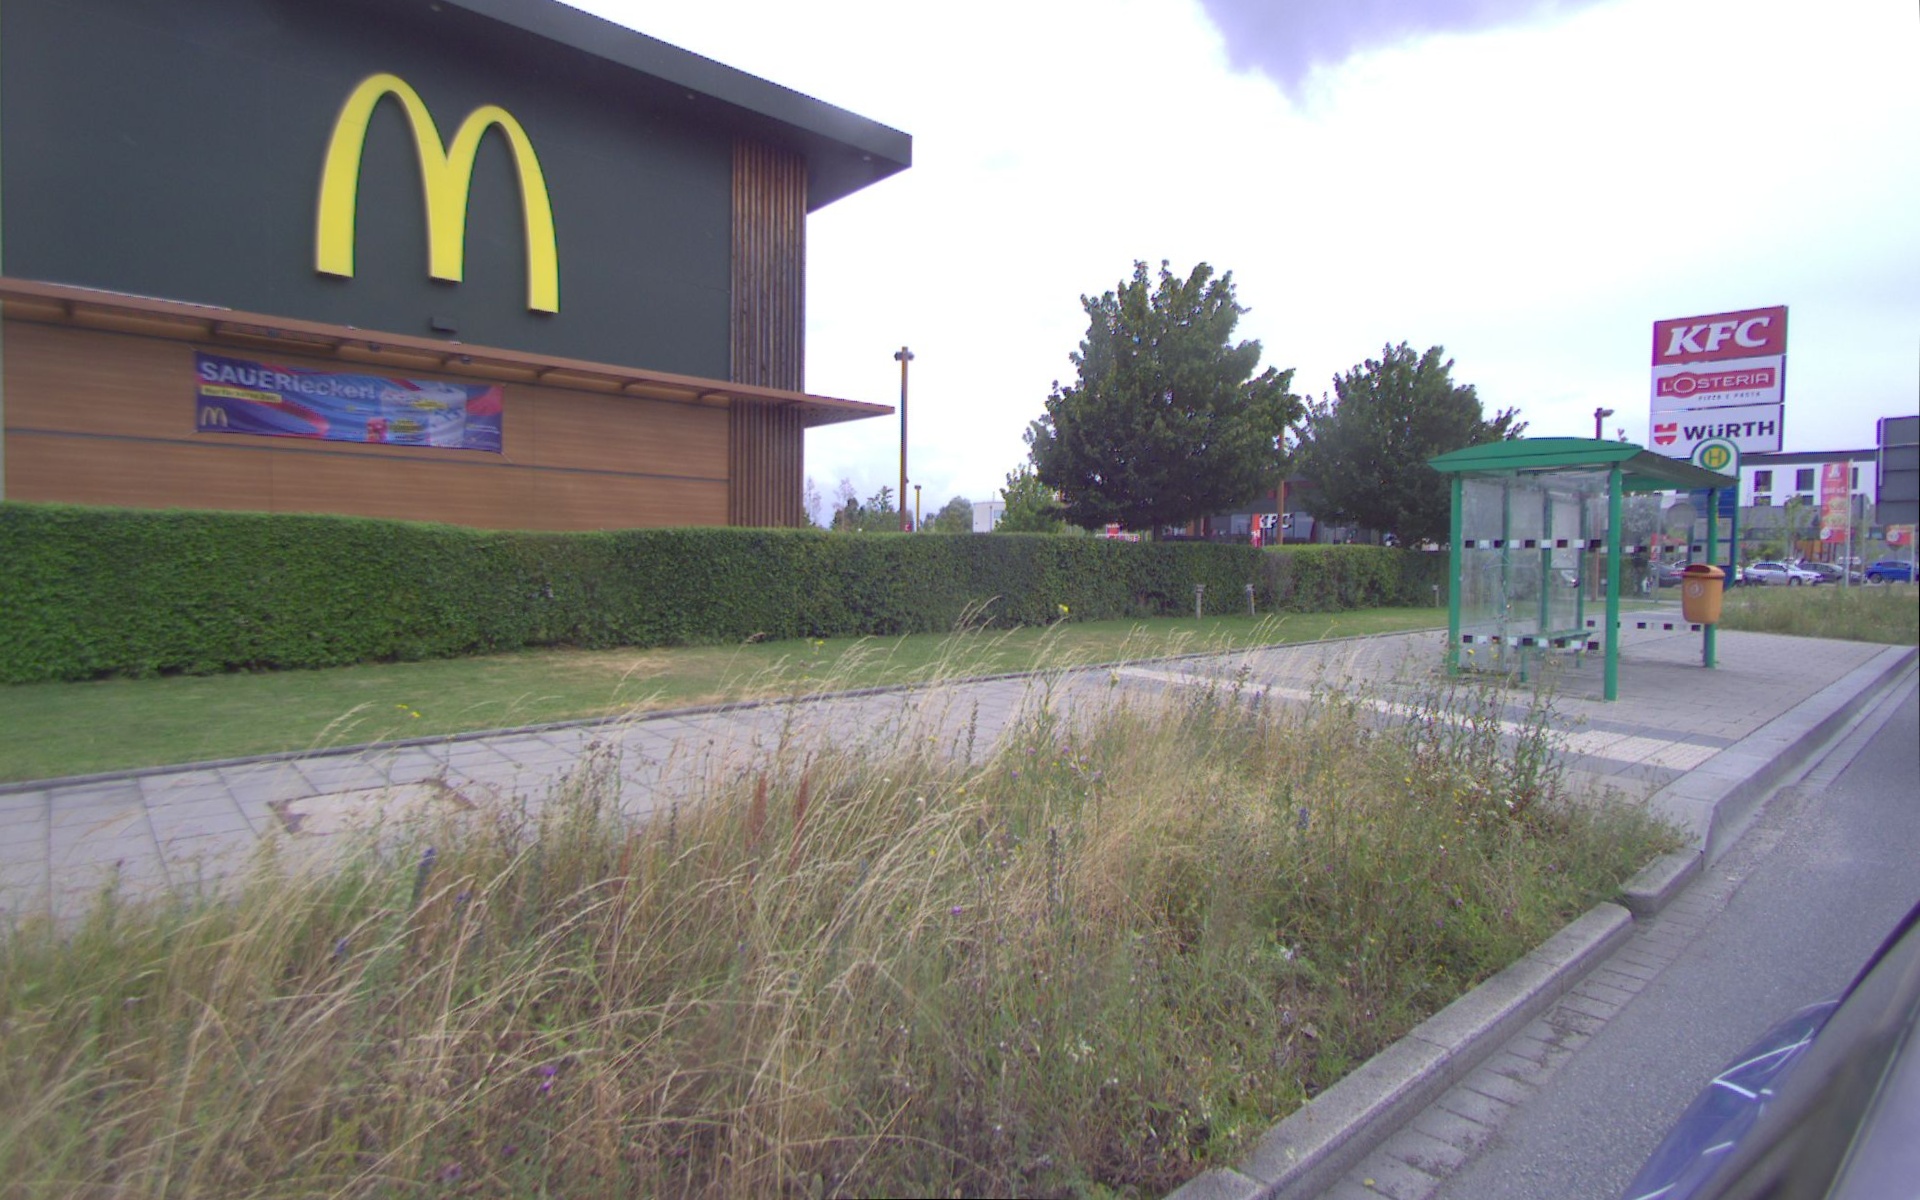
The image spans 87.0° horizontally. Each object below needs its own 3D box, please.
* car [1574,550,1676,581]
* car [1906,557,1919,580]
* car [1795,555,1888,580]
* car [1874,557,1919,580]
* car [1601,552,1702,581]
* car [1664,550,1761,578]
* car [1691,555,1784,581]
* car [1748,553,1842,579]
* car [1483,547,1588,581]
[{"bbox_3d":[34.154,-1.783,52.084,1.812,1.504,4.002,-1,3,-33],"label":"car"},{"bbox_3d":[66.596,-2.158,68.005,1.809,1.504,4.007,-2,2,-25],"label":"car"},{"bbox_3d":[55.211,-2.087,63.424,1.810,1.504,4.006,-1,3,-29],"label":"car"},{"bbox_3d":[63.970,-2.118,67.540,1.809,1.504,4.007,-2,2,-25],"label":"car"},{"bbox_3d":[36.352,-1.791,53.322,1.812,1.504,4.002,-1,3,-33],"label":"car"},{"bbox_3d":[42.252,-2.036,56.888,1.812,1.541,4.002,-1,3,-33],"label":"car"},{"bbox_3d":[46.213,-1.949,60.199,1.812,1.504,4.002,-1,3,-34],"label":"car"},{"bbox_3d":[50.803,-2.091,61.640,1.810,1.504,4.006,-1,3,-29],"label":"car"},{"bbox_3d":[27.508,-1.742,48.431,1.815,1.546,3.995,-2,3,-41],"label":"car"}]
